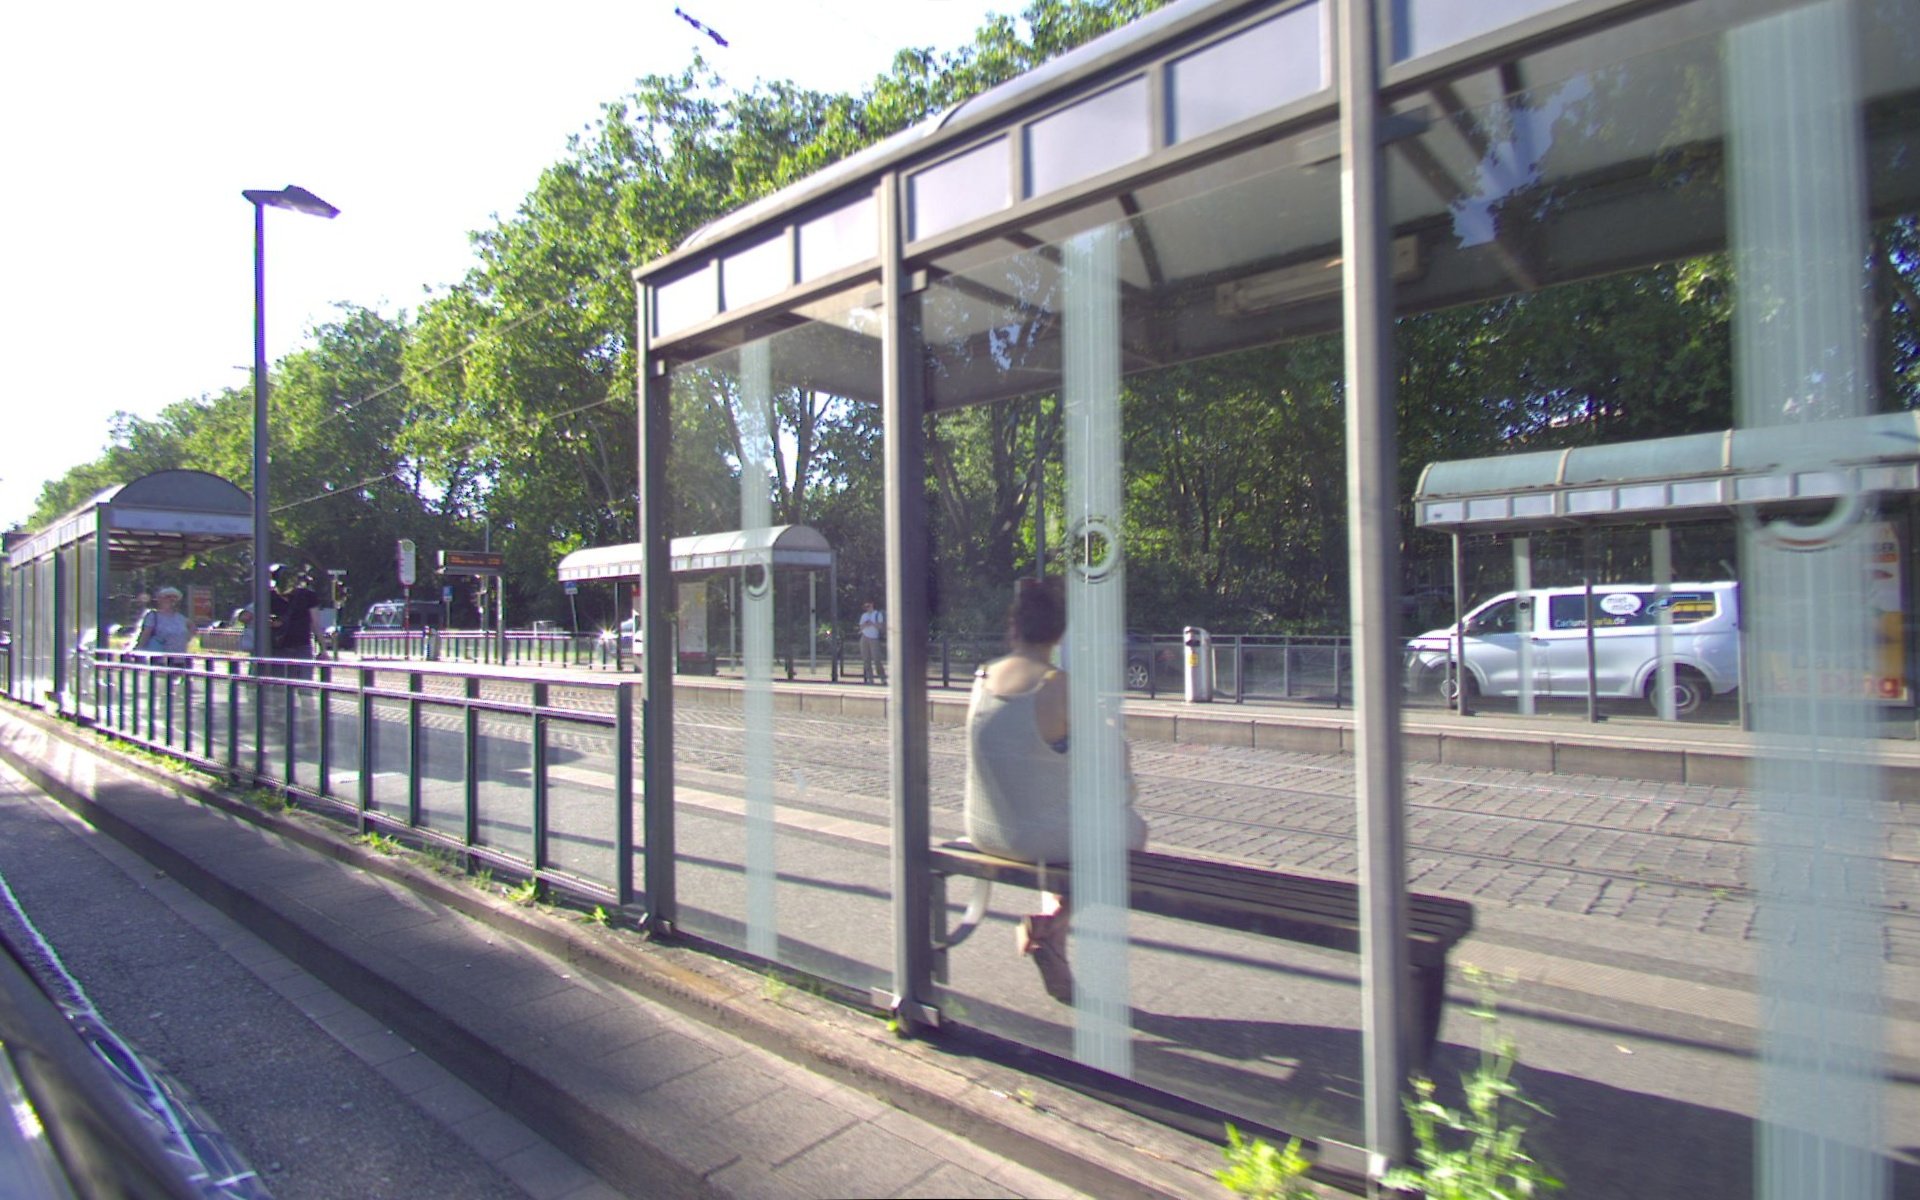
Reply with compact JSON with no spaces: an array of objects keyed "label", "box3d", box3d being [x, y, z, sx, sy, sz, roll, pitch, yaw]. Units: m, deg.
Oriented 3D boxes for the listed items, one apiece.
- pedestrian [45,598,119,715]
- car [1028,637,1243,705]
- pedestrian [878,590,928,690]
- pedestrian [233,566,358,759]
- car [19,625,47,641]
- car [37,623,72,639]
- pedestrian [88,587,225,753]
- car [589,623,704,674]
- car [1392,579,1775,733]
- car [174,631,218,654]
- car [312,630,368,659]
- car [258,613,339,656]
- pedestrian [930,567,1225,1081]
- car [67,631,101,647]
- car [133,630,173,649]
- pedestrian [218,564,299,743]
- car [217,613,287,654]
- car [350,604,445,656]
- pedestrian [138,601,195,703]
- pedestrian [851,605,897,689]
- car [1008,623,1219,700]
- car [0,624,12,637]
[{"label":"pedestrian","box3d":[-13.269,0.832,15.298,0.791,1.707,0.734,-2,0,42]},{"label":"car","box3d":[3.741,1.485,22.004,4.311,1.302,1.752,-1,-3,40]},{"label":"pedestrian","box3d":[-1.044,0.720,18.530,0.650,1.785,0.641,-1,0,44]},{"label":"pedestrian","box3d":[-6.228,0.571,9.512,0.701,1.735,0.652,-1,0,6]},{"label":"car","box3d":[-111.030,3.985,121.257,4.390,1.854,1.809,-1,-3,39]},{"label":"car","box3d":[-99.090,3.377,110.735,4.385,1.732,1.811,-1,-3,35]},{"label":"pedestrian","box3d":[-8.442,0.704,10.670,0.789,1.646,0.869,-2,0,-11]},{"label":"car","box3d":[-10.935,1.661,35.202,3.967,1.664,1.884,-1,-3,38]},{"label":"car","box3d":[9.970,0.843,16.452,5.085,2.140,2.046,-1,-3,40]},{"label":"car","box3d":[-56.647,3.145,75.002,3.878,1.567,1.721,-1,-3,39]},{"label":"car","box3d":[-35.108,2.513,57.305,3.261,1.524,1.636,-1,-3,38]},{"label":"car","box3d":[-40.280,2.081,61.558,6.263,2.540,2.162,-1,-3,38]},{"label":"pedestrian","box3d":[0.360,0.576,3.051,0.593,1.318,0.671,-1,-1,42]},{"label":"car","box3d":[-85.178,3.794,98.390,4.390,1.517,1.809,-1,-3,39]},{"label":"car","box3d":[-66.258,3.227,83.088,3.848,1.448,1.721,-1,-3,39]},{"label":"pedestrian","box3d":[-7.572,0.551,10.915,0.643,1.855,0.712,-1,0,-39]},{"label":"car","box3d":[-46.545,2.175,66.508,6.044,2.540,2.161,-1,-3,39]},{"label":"car","box3d":[-28.811,1.524,51.719,6.027,2.540,2.161,-1,-3,40]},{"label":"pedestrian","box3d":[-12.623,0.809,16.096,0.650,1.579,0.582,-2,0,42]},{"label":"pedestrian","box3d":[-1.617,0.870,19.104,0.626,1.555,0.586,-1,0,42]},{"label":"car","box3d":[3.326,1.306,22.387,4.337,1.522,1.776,-1,-3,40]},{"label":"car","box3d":[-132.382,4.229,139.639,3.896,1.753,1.713,-1,-3,39]}]
